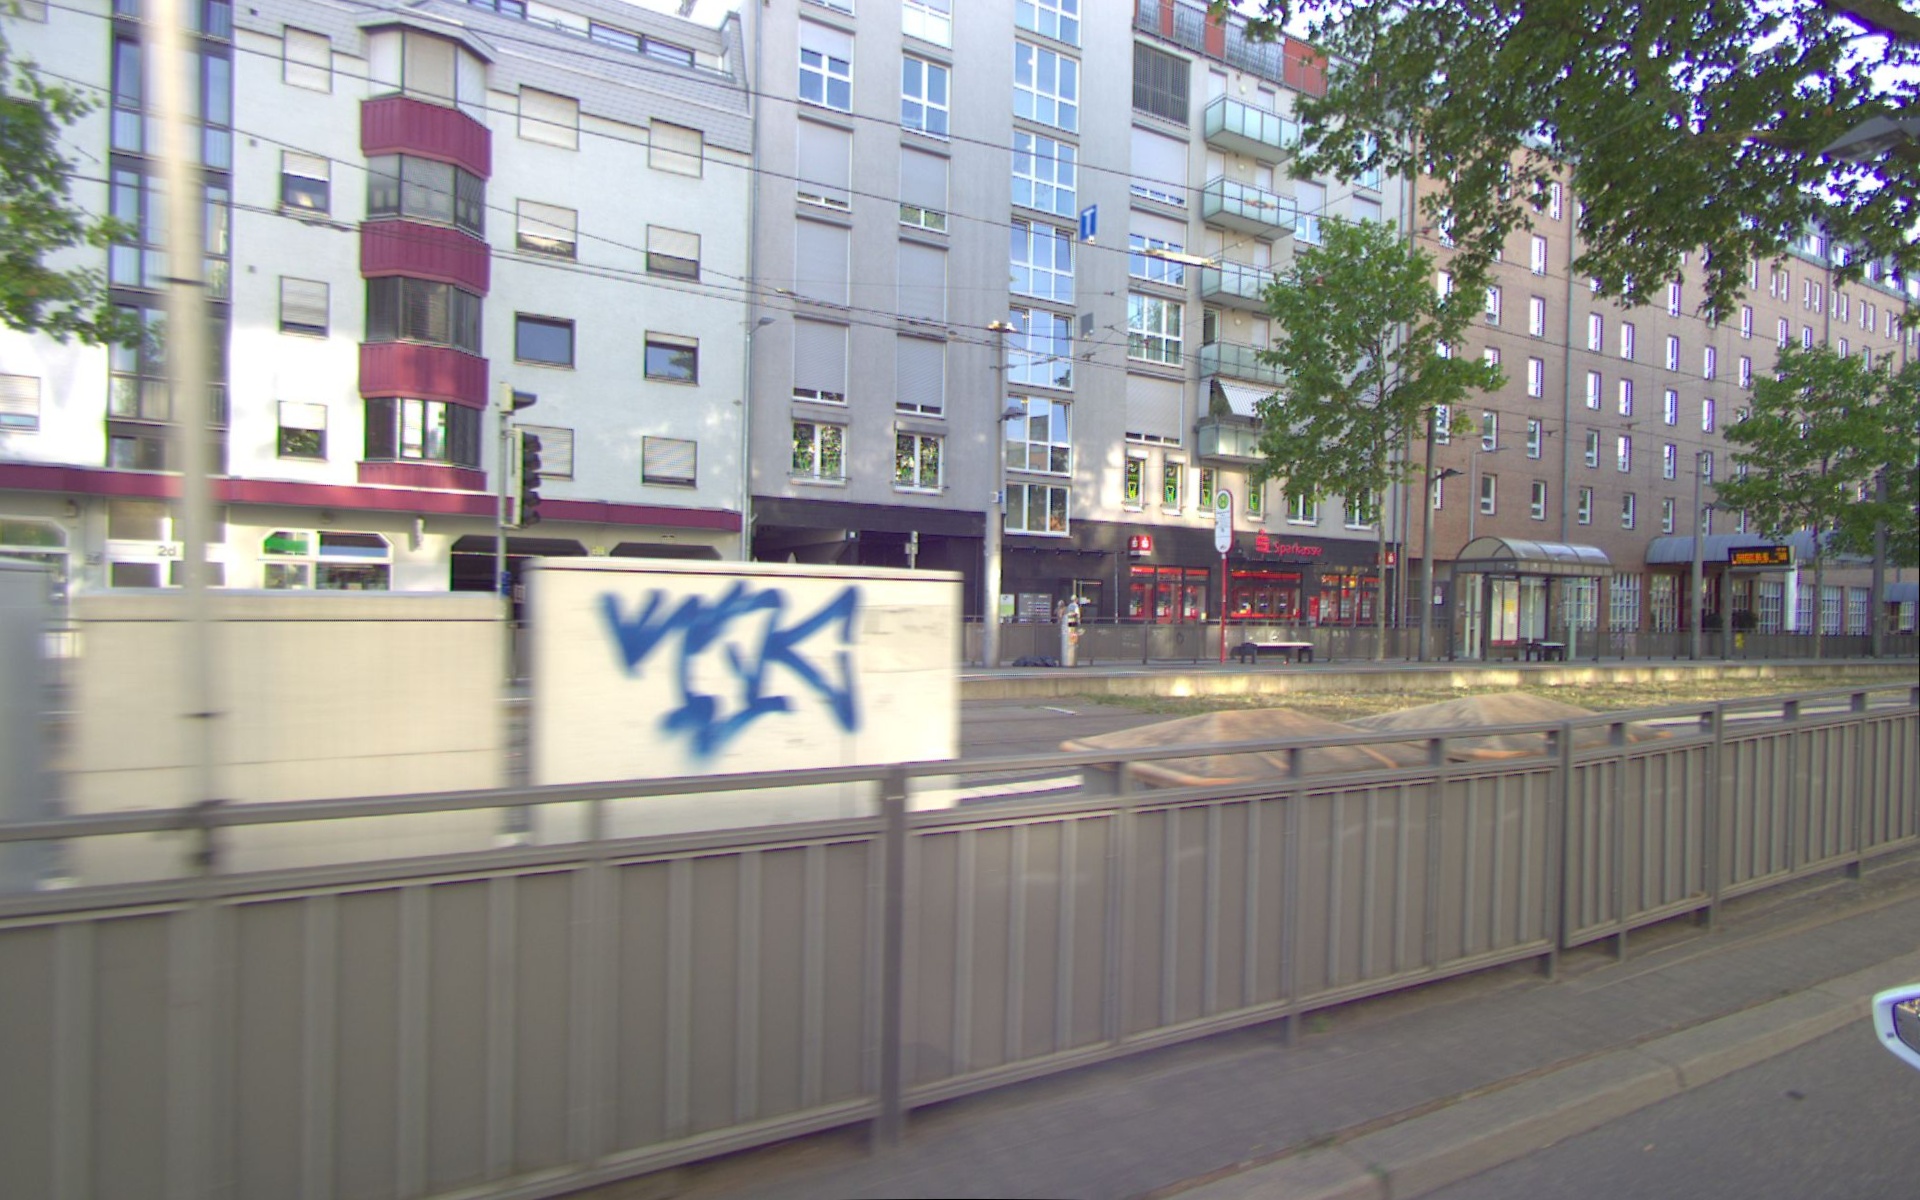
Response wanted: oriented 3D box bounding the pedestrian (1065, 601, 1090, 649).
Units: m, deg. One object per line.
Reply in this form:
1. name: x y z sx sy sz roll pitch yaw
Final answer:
1. pedestrian: 3.766 0.792 32.176 0.581 1.514 0.531 1 0 -31

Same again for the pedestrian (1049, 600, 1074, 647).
1. pedestrian: 3.299 0.774 32.667 0.581 1.514 0.531 1 0 -31
